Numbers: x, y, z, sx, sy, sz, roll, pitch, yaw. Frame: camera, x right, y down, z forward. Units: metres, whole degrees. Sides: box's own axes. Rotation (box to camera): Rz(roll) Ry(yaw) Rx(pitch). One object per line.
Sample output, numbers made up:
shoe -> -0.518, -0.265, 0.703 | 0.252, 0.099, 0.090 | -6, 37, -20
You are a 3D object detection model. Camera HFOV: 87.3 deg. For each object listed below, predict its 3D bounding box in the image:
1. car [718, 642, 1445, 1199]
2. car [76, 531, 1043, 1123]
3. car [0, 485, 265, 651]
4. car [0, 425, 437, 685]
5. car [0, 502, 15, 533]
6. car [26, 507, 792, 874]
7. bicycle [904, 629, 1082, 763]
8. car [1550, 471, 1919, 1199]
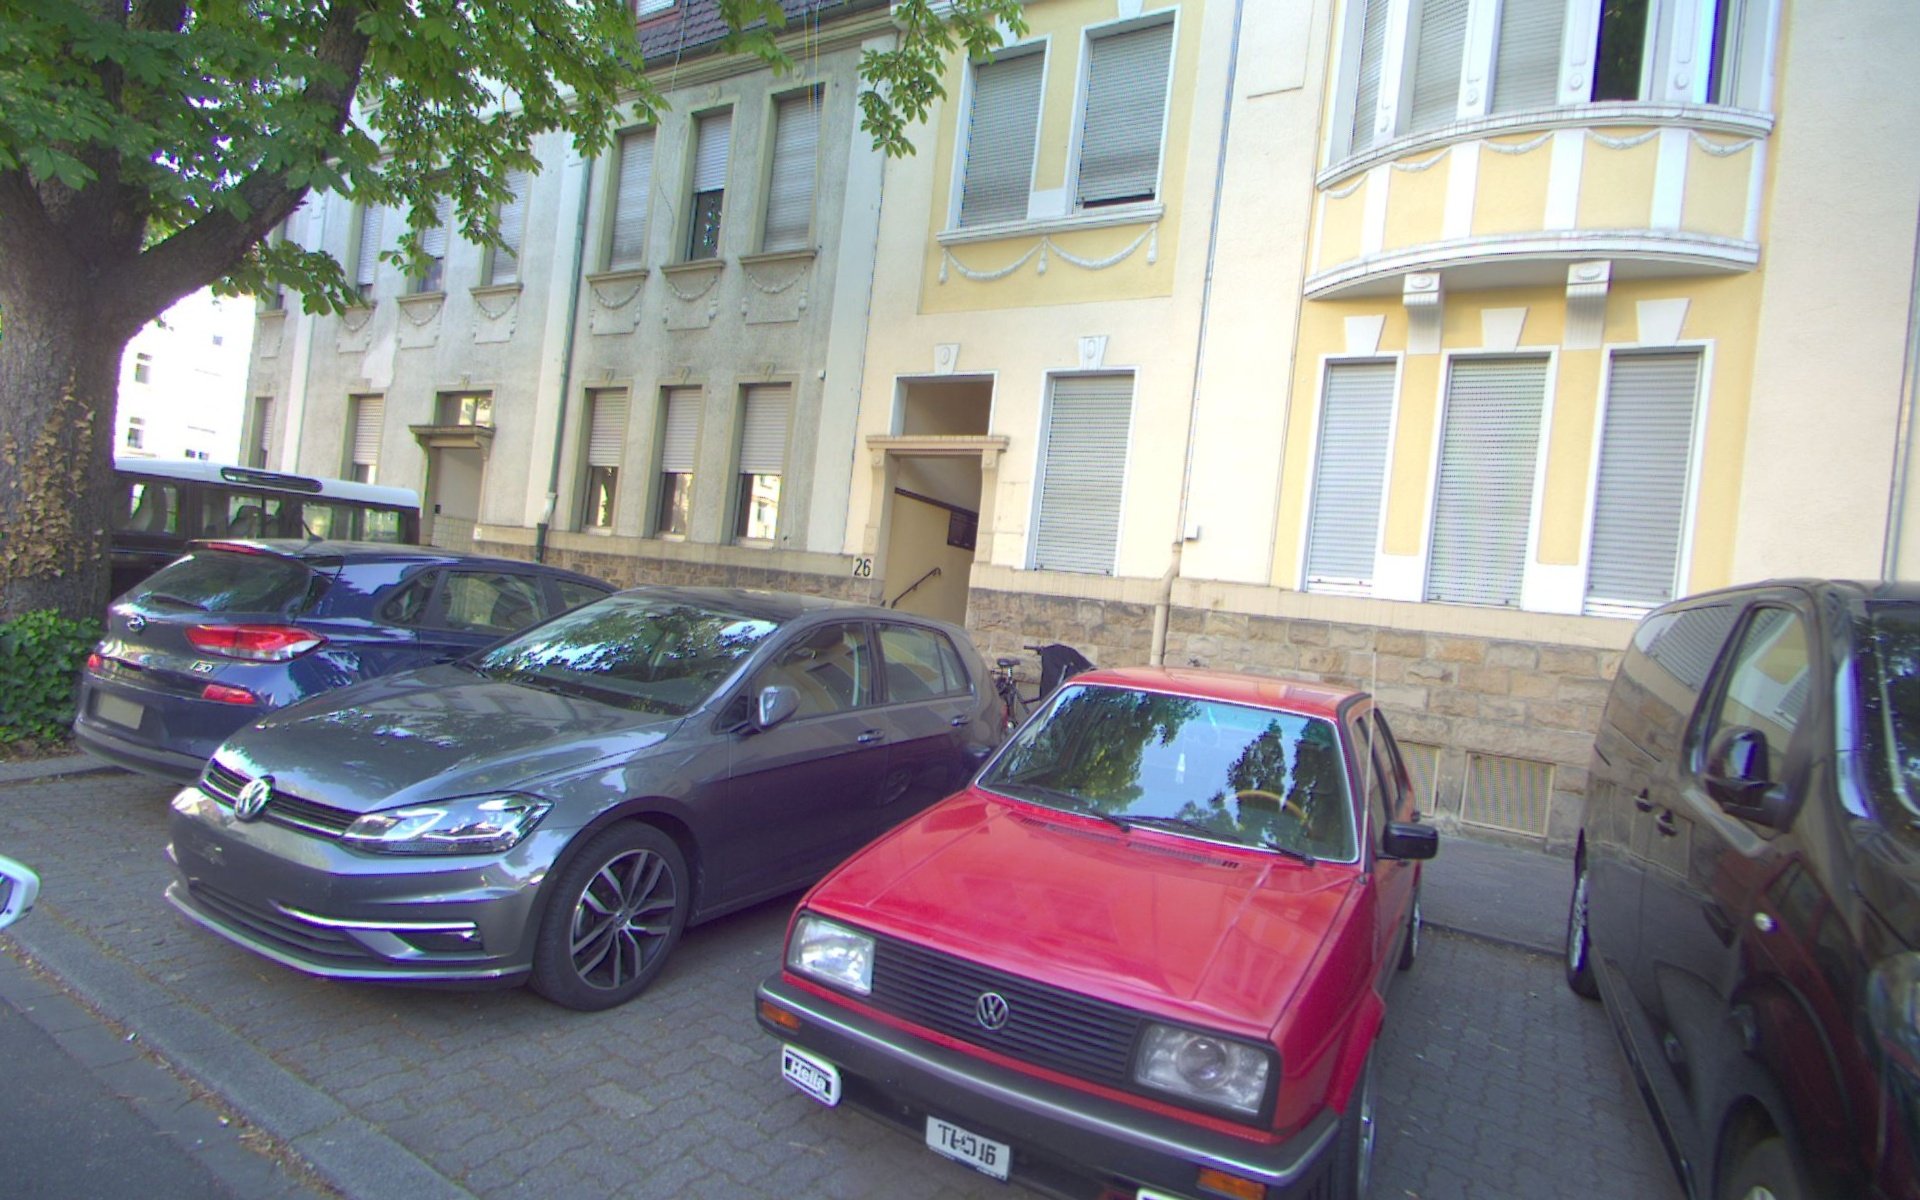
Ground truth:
car -> 0.980, 0.941, 4.143 | 1.532, 1.337, 3.916 | 6, 0, 29
car -> -1.225, 0.653, 4.729 | 1.601, 1.439, 4.054 | 6, 0, 29
car -> -9.864, -0.367, 10.805 | 1.680, 1.606, 3.489 | 7, 0, 26
car -> -7.498, -0.362, 9.189 | 1.762, 1.981, 4.496 | 7, 1, 29
car -> -36.333, -3.200, 36.013 | 1.357, 1.081, 3.370 | 7, -1, 30
car -> -2.888, 0.424, 6.129 | 1.601, 1.439, 3.754 | 6, 0, 29
bicycle -> 0.312, 0.941, 10.205 | 1.675, 1.090, 0.500 | 7, 2, 32
car -> 3.014, 0.907, 2.846 | 1.848, 1.847, 4.829 | 6, 0, 27
